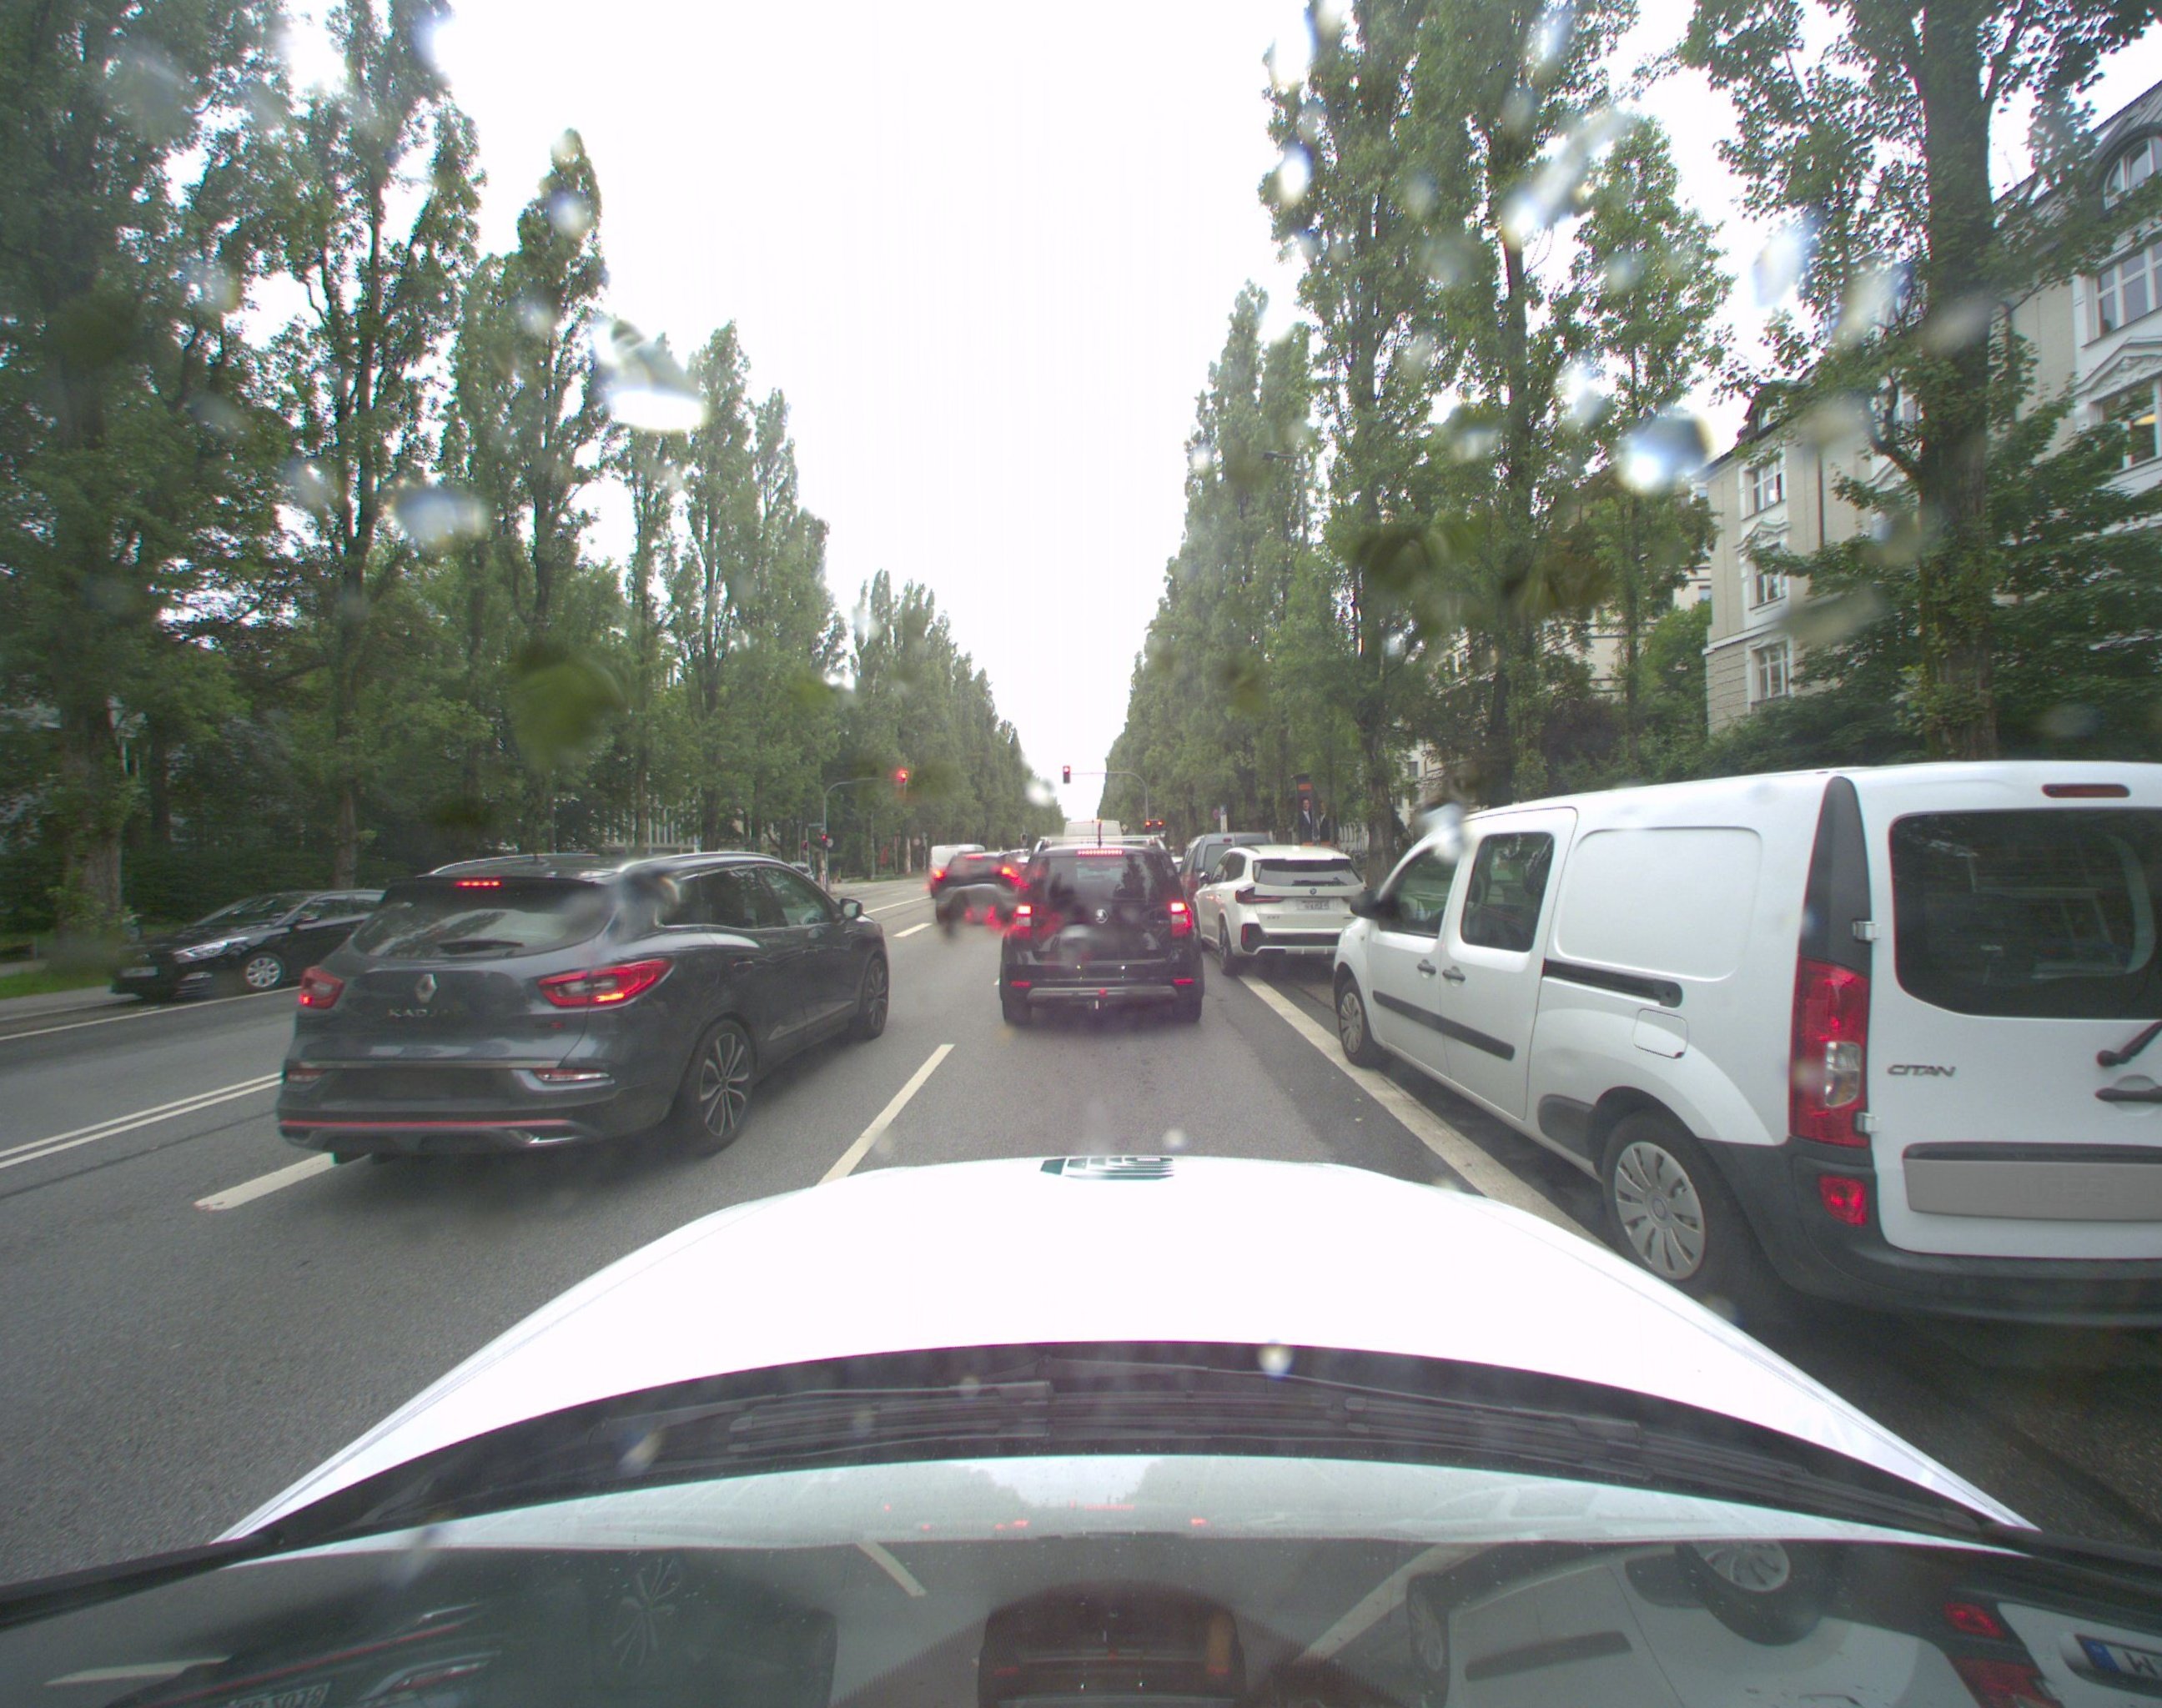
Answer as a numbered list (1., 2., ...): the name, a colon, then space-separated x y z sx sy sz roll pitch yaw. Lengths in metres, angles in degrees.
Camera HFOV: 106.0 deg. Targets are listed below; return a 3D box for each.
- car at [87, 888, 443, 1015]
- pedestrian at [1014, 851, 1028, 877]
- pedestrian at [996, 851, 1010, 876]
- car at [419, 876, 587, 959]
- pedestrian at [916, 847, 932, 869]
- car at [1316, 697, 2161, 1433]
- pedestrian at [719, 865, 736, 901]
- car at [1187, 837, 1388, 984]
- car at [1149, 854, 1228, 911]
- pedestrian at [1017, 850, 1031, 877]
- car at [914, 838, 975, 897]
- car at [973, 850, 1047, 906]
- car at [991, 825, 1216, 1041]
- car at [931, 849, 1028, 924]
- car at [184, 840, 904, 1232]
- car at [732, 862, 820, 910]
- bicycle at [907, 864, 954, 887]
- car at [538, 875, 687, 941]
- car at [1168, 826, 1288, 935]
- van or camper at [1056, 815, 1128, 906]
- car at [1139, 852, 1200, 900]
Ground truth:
1. car: -12.570 1.407 12.959 1.594 1.425 3.853 -5 0 2
2. pedestrian: -4.684 0.770 63.323 0.881 2.013 1.014 -2 0 4
3. pedestrian: -6.237 0.769 65.469 0.881 2.013 1.014 -2 0 4
4. car: -12.525 1.317 17.852 1.423 1.447 2.966 -5 0 0
5. pedestrian: -12.430 0.315 64.476 0.875 1.764 0.880 -2 0 10
6. car: 2.760 0.522 4.217 1.845 1.881 4.168 -2 0 0
7. pedestrian: -15.146 1.240 34.894 0.463 1.528 0.395 -2 0 1
8. car: 2.604 0.624 11.291 1.735 1.593 4.212 -2 0 1
9. car: 2.904 0.733 22.705 1.729 1.387 3.563 -2 0 1
10. pedestrian: -4.373 0.732 62.230 0.881 2.013 1.014 -2 0 4
11. car: -5.240 0.495 31.737 1.777 2.111 4.021 -2 0 -2
12. car: -2.199 0.707 26.391 1.987 1.560 3.999 -2 1 0
13. car: 0.222 0.644 8.683 1.849 1.770 4.001 0 0 1
14. car: -2.348 0.702 19.857 1.775 1.620 4.025 -1 0 1
15. car: -2.676 0.737 5.432 1.827 1.586 4.189 0 0 4
16. car: -12.430 1.255 33.508 1.844 1.654 4.693 -4 0 -2
17. bicycle: -8.820 1.240 47.818 2.519 1.237 0.815 -2 0 10
18. car: -12.503 1.380 22.052 1.619 1.389 4.164 -4 0 -2
19. car: 2.853 0.463 16.630 1.729 1.895 4.025 -2 0 1
20. van or camper: 0.291 0.175 25.380 1.969 2.548 4.023 -2 0 -1
21. car: 2.971 0.705 28.007 1.729 1.475 3.563 -2 0 1
